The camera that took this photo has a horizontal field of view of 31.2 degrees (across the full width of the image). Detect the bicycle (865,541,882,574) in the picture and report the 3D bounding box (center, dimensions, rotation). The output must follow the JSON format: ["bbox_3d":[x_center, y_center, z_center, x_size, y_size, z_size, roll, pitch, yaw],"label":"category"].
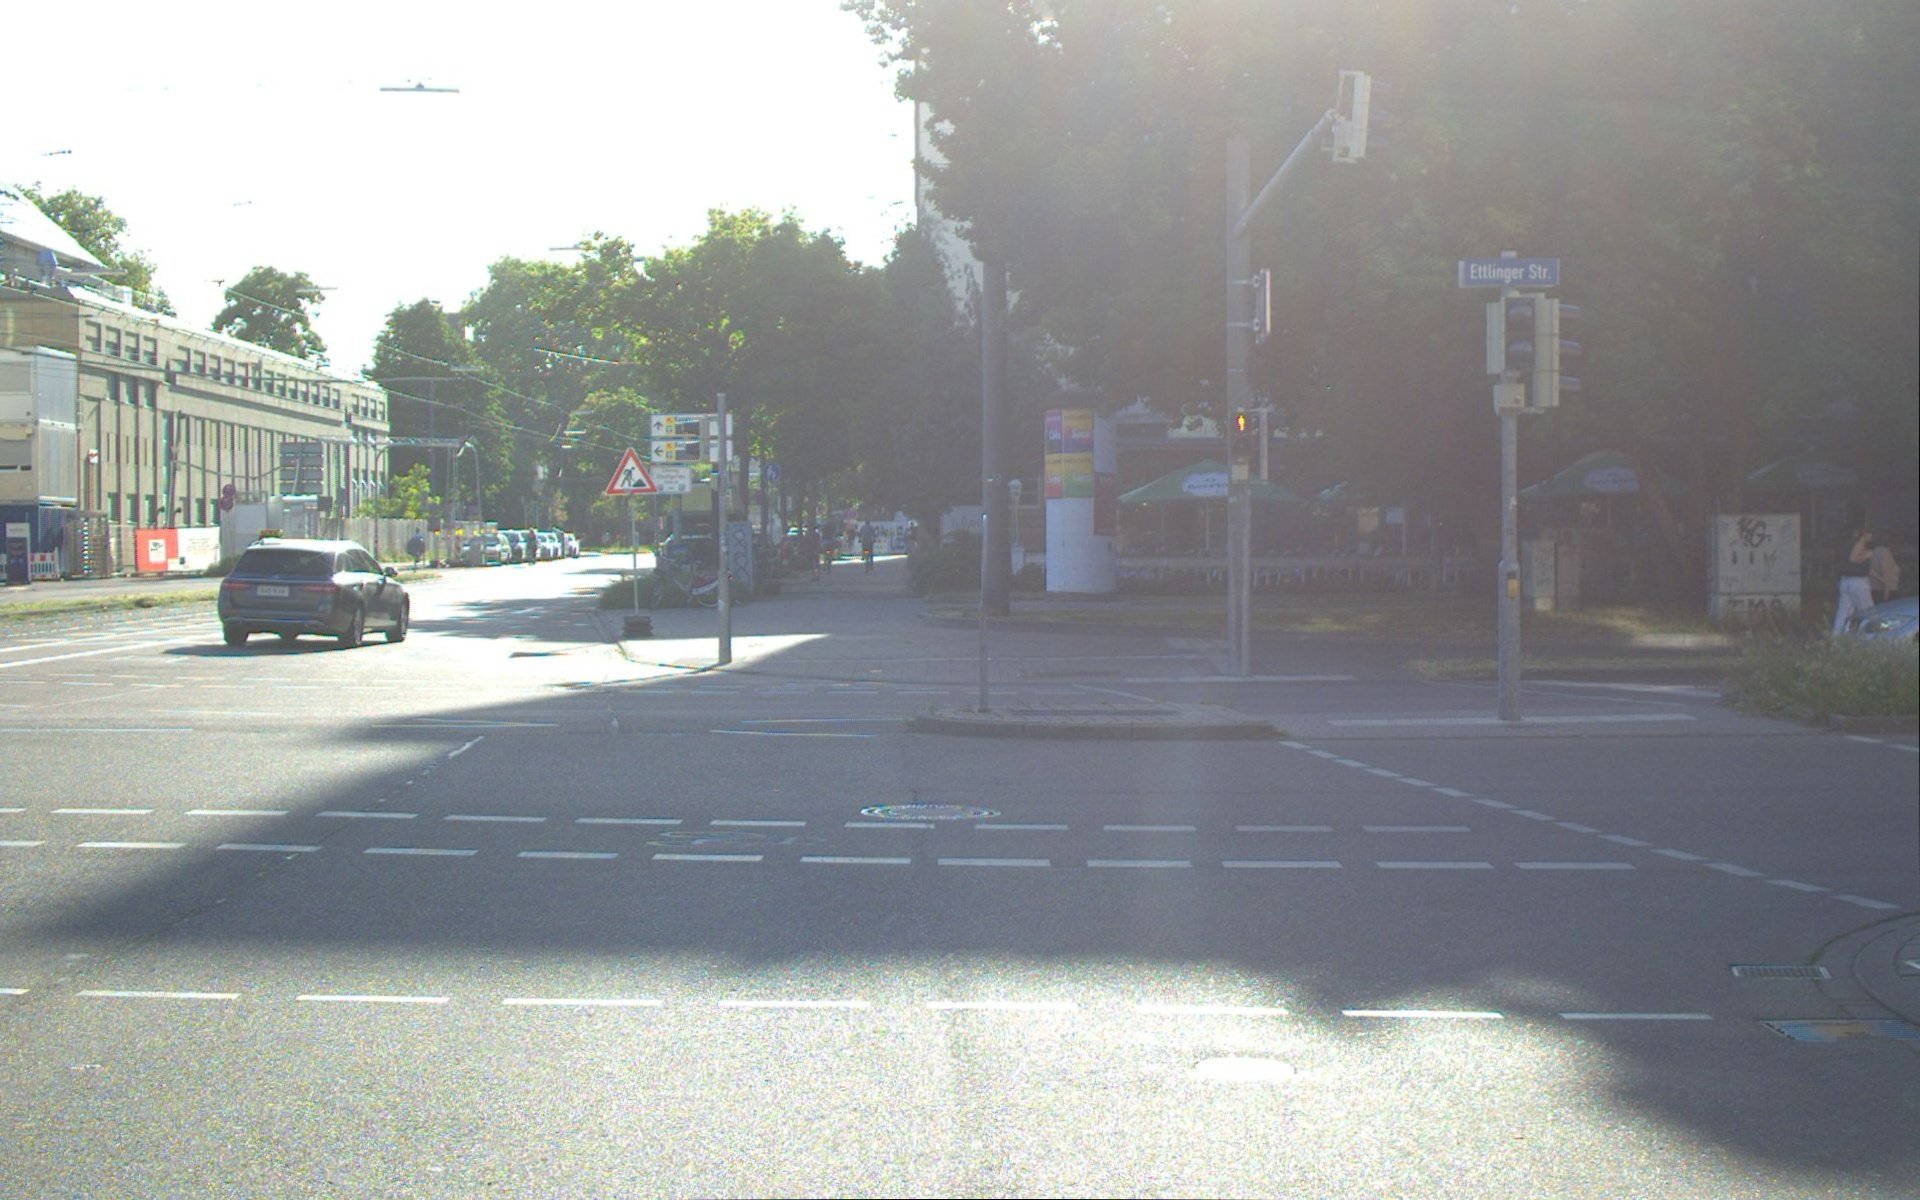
[{"bbox_3d":[-2.905,-1.437,115.414,0.575,1.073,1.831,0,1,-1],"label":"bicycle"}]

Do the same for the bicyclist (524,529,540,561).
[{"bbox_3d":[-18.167,-2.341,145.957,0.596,1.372,0.638,1,0,-2],"label":"bicyclist"}]

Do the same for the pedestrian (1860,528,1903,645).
[{"bbox_3d":[11.942,-0.179,44.542,0.439,1.498,0.437,0,1,1],"label":"pedestrian"}]

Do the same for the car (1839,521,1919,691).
[{"bbox_3d":[10.756,0.023,33.415,3.993,1.605,1.650,-1,1,-1],"label":"car"}]

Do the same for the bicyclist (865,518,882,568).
[{"bbox_3d":[-2.906,-1.917,115.440,0.569,1.685,0.700,0,1,-1],"label":"bicyclist"}]

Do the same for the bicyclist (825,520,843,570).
[{"bbox_3d":[-4.240,-1.857,115.505,0.569,1.685,0.700,0,1,-1],"label":"bicyclist"}]

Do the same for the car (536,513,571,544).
[{"bbox_3d":[-23.015,-4.035,194.694,1.692,1.712,4.248,1,1,-4],"label":"car"}]

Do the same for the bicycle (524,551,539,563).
[{"bbox_3d":[-18.183,-1.824,145.923,0.501,0.513,1.258,1,1,-1],"label":"bicycle"}]

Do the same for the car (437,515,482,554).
[{"bbox_3d":[-22.775,-2.969,156.448,1.692,1.712,4.248,1,1,-4],"label":"car"}]

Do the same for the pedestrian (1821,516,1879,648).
[{"bbox_3d":[11.352,-0.232,43.869,0.583,1.657,0.514,1,2,2],"label":"pedestrian"}]

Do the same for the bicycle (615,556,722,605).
[{"bbox_3d":[-5.729,-0.383,67.484,2.018,0.888,0.650,-2,0,27],"label":"bicycle"}]

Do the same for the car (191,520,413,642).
[{"bbox_3d":[-9.212,-0.306,48.541,1.892,1.560,4.807,3,1,3],"label":"car"}]

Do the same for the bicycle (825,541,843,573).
[{"bbox_3d":[-4.237,-1.458,115.555,0.575,1.073,1.831,0,1,-1],"label":"bicycle"}]

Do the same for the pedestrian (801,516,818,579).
[{"bbox_3d":[-4.308,-1.501,98.227,0.463,1.807,0.503,0,1,-5],"label":"pedestrian"}]
